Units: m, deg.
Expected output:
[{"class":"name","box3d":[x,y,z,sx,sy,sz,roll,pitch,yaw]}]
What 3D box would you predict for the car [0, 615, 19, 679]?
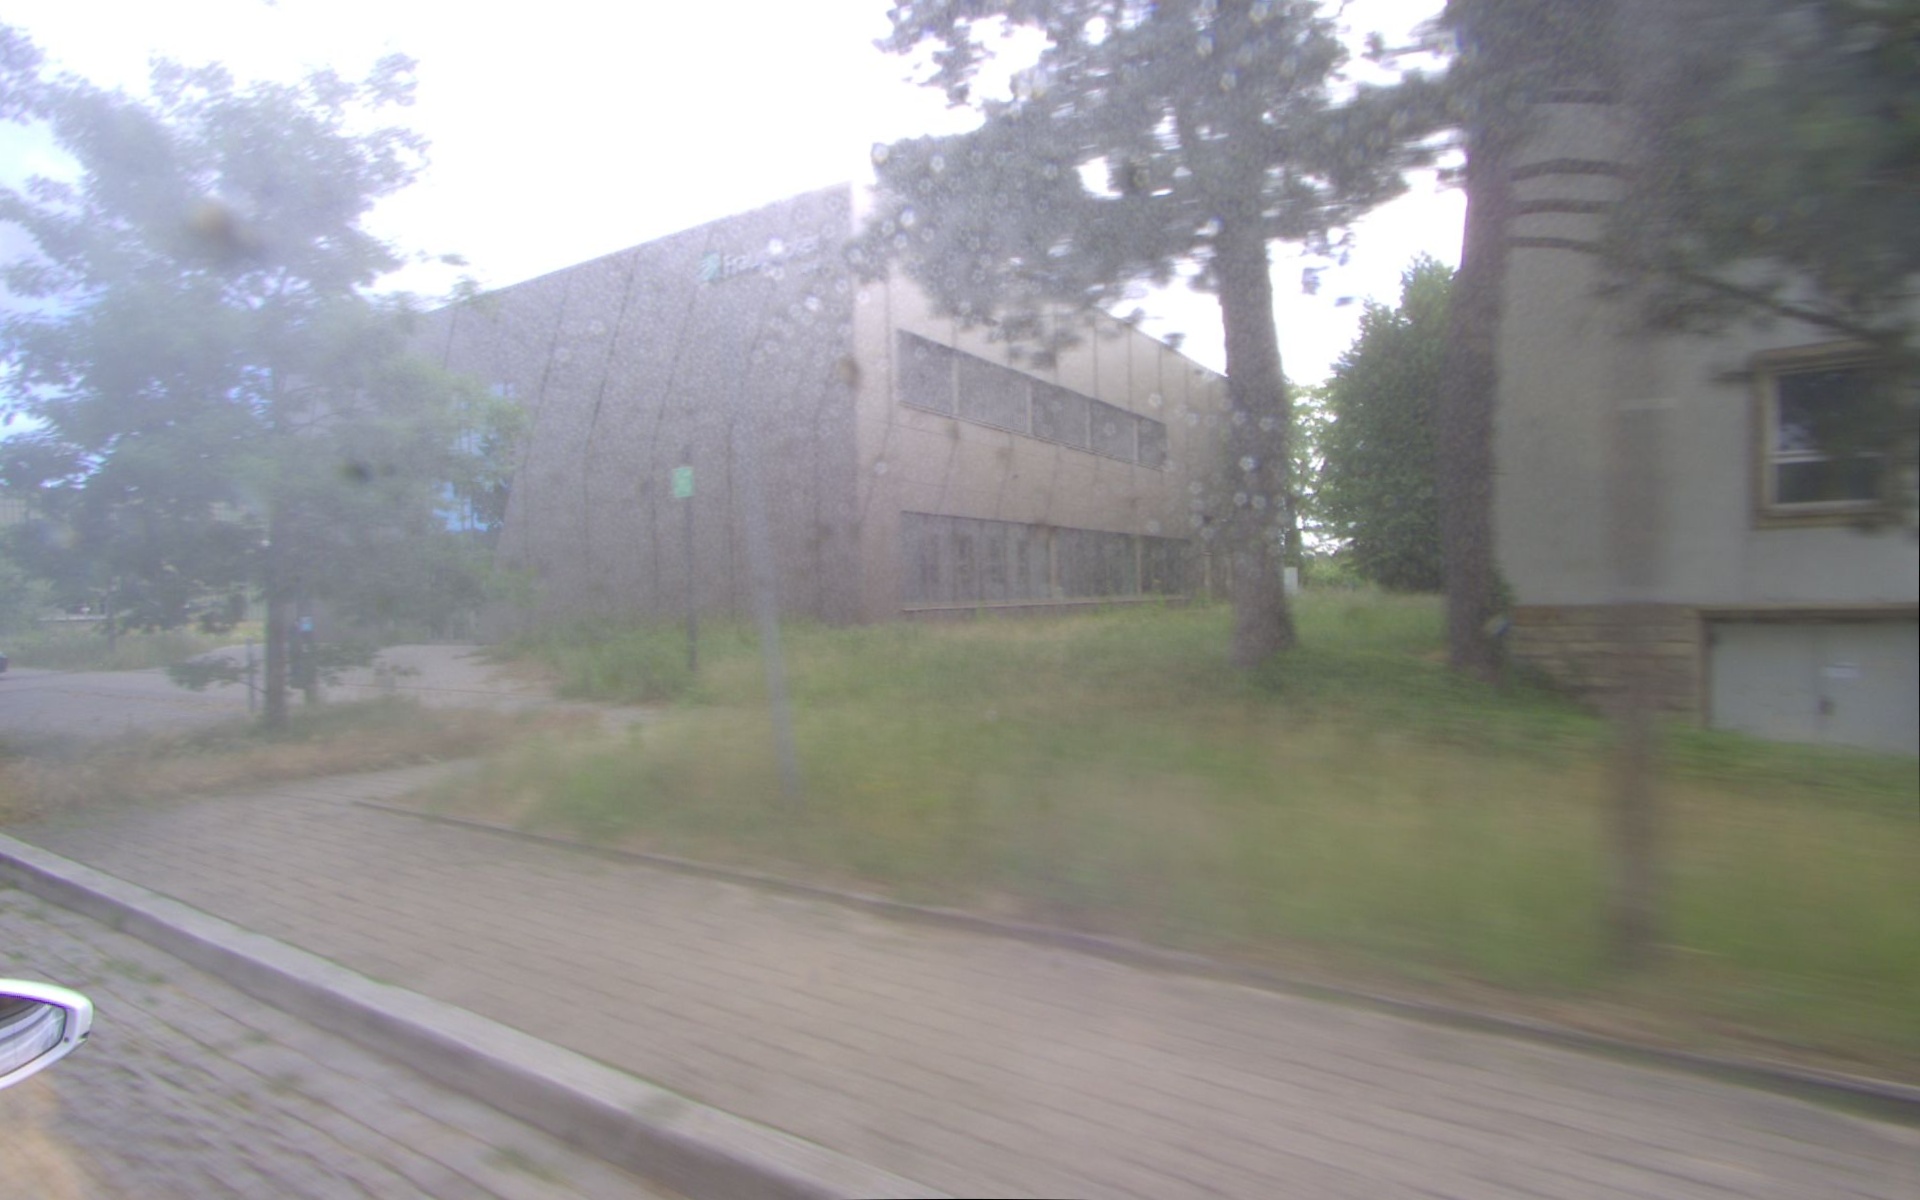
[{"class":"car","box3d":[-24.155,1.200,22.138,1.906,1.482,4.471,-1,2,31]}]
